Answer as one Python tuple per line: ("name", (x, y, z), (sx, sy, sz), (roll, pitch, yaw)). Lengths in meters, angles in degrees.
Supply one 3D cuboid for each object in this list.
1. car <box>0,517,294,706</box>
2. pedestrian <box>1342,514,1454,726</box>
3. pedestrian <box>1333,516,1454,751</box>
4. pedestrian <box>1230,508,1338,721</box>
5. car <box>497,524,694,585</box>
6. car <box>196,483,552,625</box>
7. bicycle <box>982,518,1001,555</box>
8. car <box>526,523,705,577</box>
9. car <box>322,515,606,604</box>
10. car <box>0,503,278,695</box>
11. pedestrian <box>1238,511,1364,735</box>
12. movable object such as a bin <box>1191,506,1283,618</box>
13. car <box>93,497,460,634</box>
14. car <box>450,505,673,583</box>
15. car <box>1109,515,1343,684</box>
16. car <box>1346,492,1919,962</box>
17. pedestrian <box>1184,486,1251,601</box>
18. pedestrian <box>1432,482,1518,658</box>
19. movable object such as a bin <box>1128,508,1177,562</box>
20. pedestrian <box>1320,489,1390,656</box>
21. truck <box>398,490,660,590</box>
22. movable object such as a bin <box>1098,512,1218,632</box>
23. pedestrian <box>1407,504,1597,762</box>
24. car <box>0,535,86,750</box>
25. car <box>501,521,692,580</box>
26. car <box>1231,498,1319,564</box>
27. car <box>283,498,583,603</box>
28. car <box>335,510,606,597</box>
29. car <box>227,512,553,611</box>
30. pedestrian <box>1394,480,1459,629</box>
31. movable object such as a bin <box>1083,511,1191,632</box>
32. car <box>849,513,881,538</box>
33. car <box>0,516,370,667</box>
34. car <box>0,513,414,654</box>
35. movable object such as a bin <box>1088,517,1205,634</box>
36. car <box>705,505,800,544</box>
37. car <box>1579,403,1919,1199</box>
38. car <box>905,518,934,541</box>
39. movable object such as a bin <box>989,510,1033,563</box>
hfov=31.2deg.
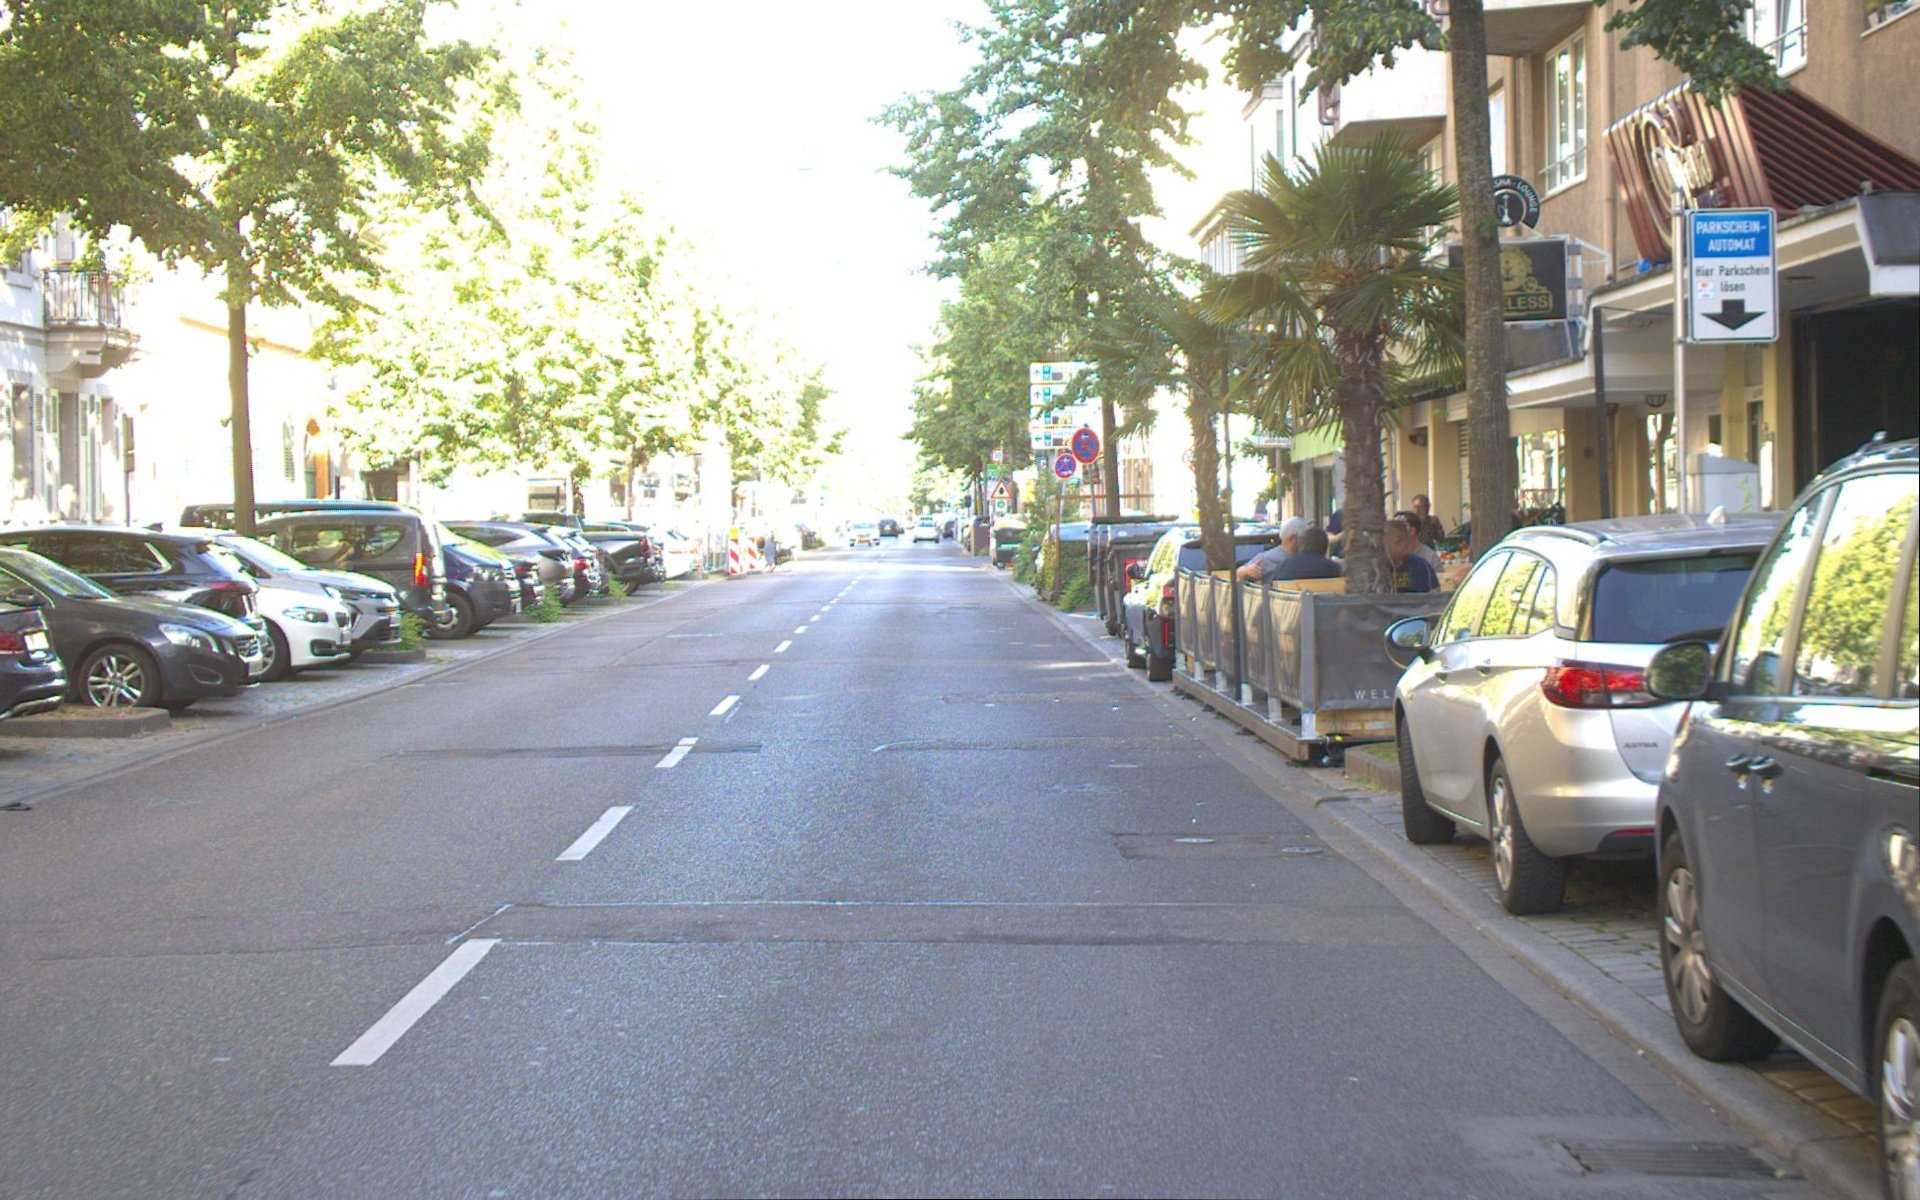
("car", (-8.087, 0.069, 29.175), (4.466, 1.535, 1.916), (0, 1, 2))
("pedestrian", (3.225, 0.139, 25.282), (0.712, 1.531, 0.769), (-1, 1, 14))
("pedestrian", (2.880, 0.213, 22.893), (0.692, 1.531, 0.776), (-1, 1, 0))
("pedestrian", (2.377, 0.093, 25.306), (0.650, 1.531, 0.980), (-1, 1, -2))
("car", (-8.833, -1.105, 83.603), (4.680, 1.460, 1.808), (0, 1, -3))
("car", (-8.212, -0.650, 48.439), (4.680, 1.943, 1.917), (0, 1, 1))
("bicycle", (1.274, -2.591, 139.290), (0.560, 1.436, 1.628), (-6, 2, -1))
("car", (-9.158, -1.337, 91.571), (4.680, 1.407, 1.808), (0, 1, -3))
("car", (-8.635, -0.712, 60.051), (4.680, 1.514, 1.808), (0, 1, 1))
("car", (-8.619, -0.034, 31.568), (4.339, 1.703, 1.917), (0, 1, 0))
("pedestrian", (2.387, 0.152, 24.008), (0.750, 1.531, 0.807), (-1, 1, 14))
("movable object such as a bin", (3.609, -0.505, 44.946), (1.077, 1.426, 1.295), (-1, 1, 0))
("car", (-9.001, -0.467, 45.540), (4.466, 1.766, 1.917), (0, 1, 1))
("car", (-8.742, -1.233, 75.735), (4.680, 1.687, 1.808), (0, 1, 1))
("car", (2.552, -0.062, 34.057), (1.822, 1.467, 4.912), (-3, 1, -1))
("car", (2.884, 0.391, 14.637), (1.822, 1.591, 4.842), (-3, 1, -1))
("pedestrian", (4.361, -0.961, 58.185), (0.926, 1.929, 0.760), (0, 1, 25))
("pedestrian", (4.988, -0.296, 33.313), (0.502, 1.690, 0.630), (-2, 1, -37))
("movable object such as a bin", (5.551, -1.866, 99.205), (1.270, 1.525, 1.177), (-1, 1, -2))
("pedestrian", (4.066, -0.290, 35.425), (0.616, 1.690, 0.762), (-1, 1, 0))
("truck", (-8.779, -1.238, 70.337), (5.084, 1.931, 2.000), (-1, 1, -1))
("movable object such as a bin", (2.445, -0.356, 42.598), (1.399, 1.449, 1.146), (-1, 1, 0))
("pedestrian", (3.305, 0.189, 21.050), (1.056, 1.531, 0.892), (-1, 1, 4))
("car", (-8.449, 0.261, 23.827), (4.339, 1.434, 1.917), (0, 1, -2))
("car", (-9.078, -1.248, 86.162), (4.680, 1.460, 1.808), (0, 1, -3))
("car", (8.070, -1.780, 88.348), (1.901, 1.642, 4.293), (-1, 1, 1))
("car", (-8.731, -0.830, 57.196), (4.680, 1.706, 1.808), (0, 1, 1))
("car", (-8.919, -0.858, 62.912), (4.680, 1.566, 1.808), (0, 1, 1))
("car", (-8.562, -0.593, 51.874), (4.645, 1.454, 1.684), (0, 1, 0))
("pedestrian", (5.181, -0.508, 38.191), (0.616, 1.636, 0.762), (-1, 1, 1))
("movable object such as a bin", (2.302, -0.381, 44.941), (1.330, 1.537, 1.146), (-1, 1, 0))
("car", (-5.656, -4.433, 204.645), (1.802, 1.430, 4.410), (-3, 1, -2))
("car", (-8.559, -0.107, 35.983), (4.466, 1.535, 1.917), (0, 1, -1))
("car", (-8.583, -0.199, 38.878), (4.466, 1.535, 1.916), (0, 1, 3))
("movable object such as a bin", (2.363, -0.320, 43.778), (1.399, 1.449, 1.146), (-1, 1, 0))
("car", (-9.297, -3.375, 154.025), (3.987, 1.688, 2.000), (-1, 2, 4))
("car", (2.761, 0.435, 8.271), (1.822, 1.771, 4.930), (-3, 1, 3))
("car", (-2.591, -4.550, 220.557), (1.792, 1.406, 4.001), (-1, 2, -1))
("movable object such as a bin", (1.530, -1.909, 103.129), (1.143, 1.556, 1.459), (-1, 1, 8))
